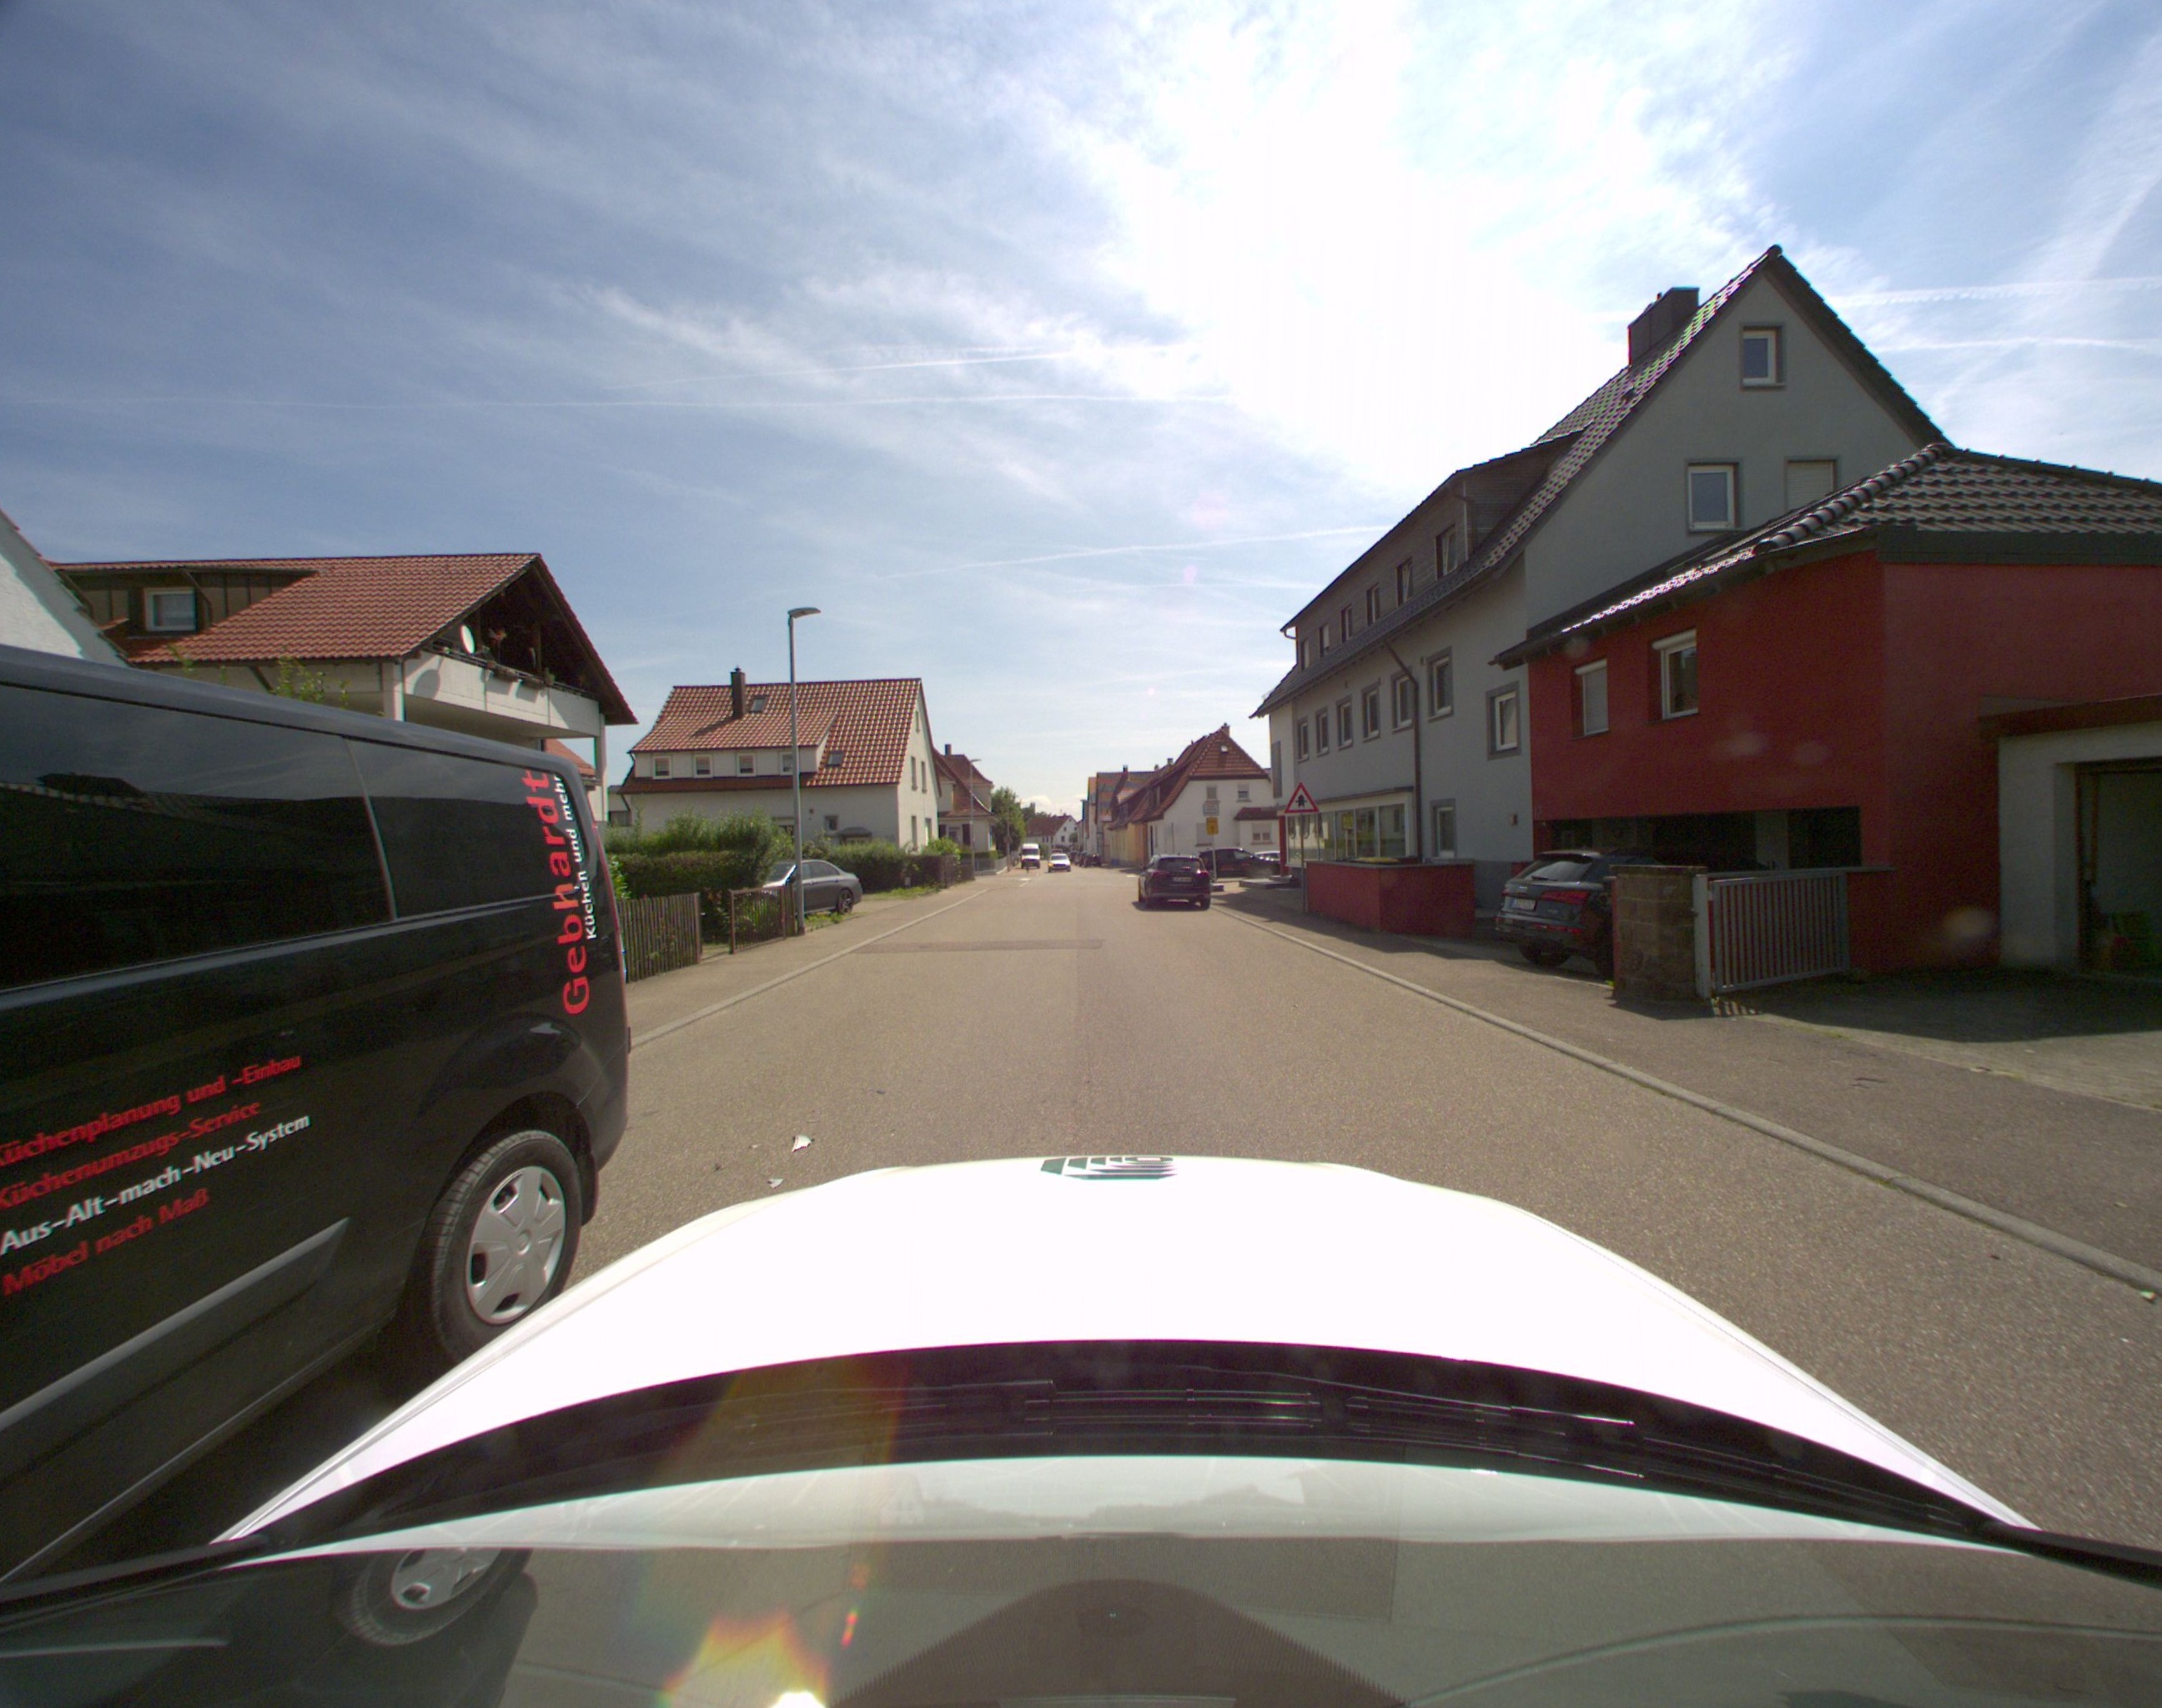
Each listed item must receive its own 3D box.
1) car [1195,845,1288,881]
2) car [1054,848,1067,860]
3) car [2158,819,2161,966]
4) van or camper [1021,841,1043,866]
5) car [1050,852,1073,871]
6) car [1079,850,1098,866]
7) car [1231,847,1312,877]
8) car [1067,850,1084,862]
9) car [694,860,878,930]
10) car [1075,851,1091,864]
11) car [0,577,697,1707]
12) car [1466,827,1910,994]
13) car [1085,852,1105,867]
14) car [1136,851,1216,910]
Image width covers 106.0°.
[{"bbox_3d":[7.803,0.413,39.829,4.273,1.653,1.850,-1,0,4],"label":"car"},{"bbox_3d":[-3.975,-0.046,158.687,2.120,2.158,4.739,-2,0,3],"label":"car"},{"bbox_3d":[12.729,0.316,7.304,3.944,1.465,1.787,-2,1,-2],"label":"car"},{"bbox_3d":[-5.148,-0.049,86.003,2.180,2.571,6.798,-1,0,-4],"label":"van or camper"},{"bbox_3d":[-1.605,0.590,65.607,1.749,1.438,4.584,-1,0,-2],"label":"car"},{"bbox_3d":[0.748,0.376,86.468,1.724,1.599,4.249,-1,0,-3],"label":"car"},{"bbox_3d":[10.219,0.427,43.790,3.972,1.504,1.695,-1,0,2],"label":"car"},{"bbox_3d":[-0.785,0.287,113.398,1.873,1.700,4.175,-1,0,-5],"label":"car"},{"bbox_3d":[-6.956,0.906,19.816,1.813,1.432,4.582,-1,0,16],"label":"car"},{"bbox_3d":[0.245,0.410,98.584,1.671,1.559,3.034,-1,0,-5],"label":"car"},{"bbox_3d":[-2.676,0.562,1.219,1.962,1.951,4.694,-2,0,-1],"label":"car"},{"bbox_3d":[7.639,0.676,10.554,4.356,1.668,1.875,4,0,-2],"label":"car"},{"bbox_3d":[1.395,0.522,80.925,1.608,1.431,3.747,-1,0,-5],"label":"car"},{"bbox_3d":[2.679,0.699,23.873,1.757,1.527,4.404,-1,0,-1],"label":"car"}]
